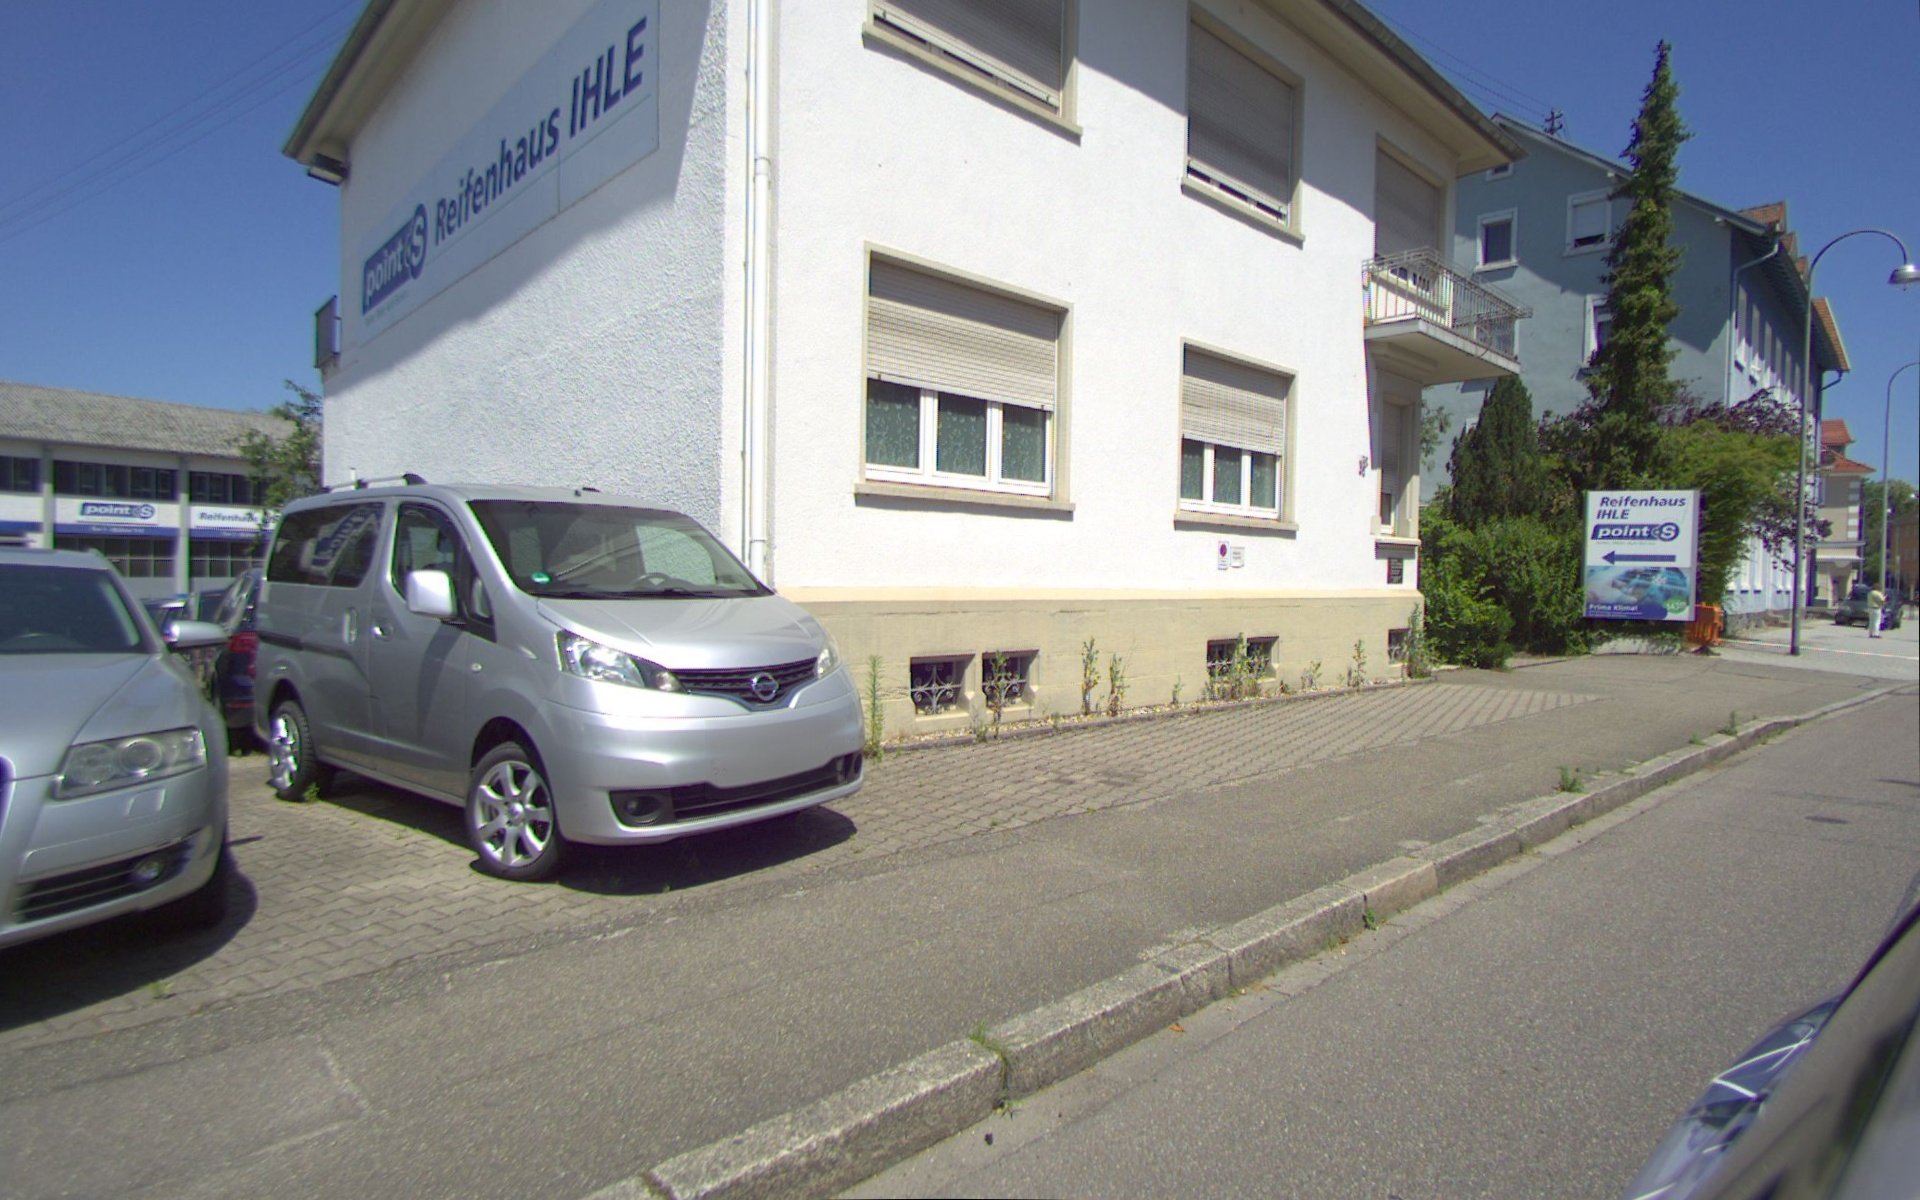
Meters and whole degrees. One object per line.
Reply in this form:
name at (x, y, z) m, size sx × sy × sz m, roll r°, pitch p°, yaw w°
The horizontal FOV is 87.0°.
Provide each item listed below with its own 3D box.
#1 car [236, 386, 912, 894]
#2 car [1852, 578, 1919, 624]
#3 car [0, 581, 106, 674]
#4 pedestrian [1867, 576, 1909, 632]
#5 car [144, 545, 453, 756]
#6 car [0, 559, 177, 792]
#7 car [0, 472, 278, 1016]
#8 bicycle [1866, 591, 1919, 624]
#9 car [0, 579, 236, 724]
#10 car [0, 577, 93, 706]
car at (-2.426, 0.178, 5.741) m, size 4.283 × 1.854 × 1.714 m, roll -1°, pitch -1°, yaw 40°
car at (35.107, 0.003, 38.120) m, size 3.677 × 1.531 × 1.762 m, roll -1°, pitch 5°, yaw -42°
car at (-19.928, 0.525, 21.746) m, size 3.986 × 1.816 × 1.969 m, roll 0°, pitch 1°, yaw 43°
pedestrian at (27.772, 0.124, 30.283) m, size 0.735 × 1.635 × 0.617 m, roll 1°, pitch 3°, yaw -26°
car at (-6.047, 0.326, 9.428) m, size 1.961 × 1.504 × 4.002 m, roll -1°, pitch 1°, yaw -32°
car at (-7.647, 0.476, 7.966) m, size 1.961 × 1.504 × 4.002 m, roll -1°, pitch 1°, yaw -32°
car at (-4.238, 0.413, 4.236) m, size 1.738 × 1.427 × 4.646 m, roll 0°, pitch -1°, yaw -41°
bicycle at (32.421, 0.261, 35.145) m, size 1.844 × 1.051 × 0.635 m, roll 1°, pitch 4°, yaw -23°
car at (-10.426, 0.516, 12.685) m, size 1.961 × 1.504 × 4.002 m, roll -1°, pitch 1°, yaw -32°
car at (-14.942, 0.578, 15.606) m, size 3.986 × 1.816 × 1.969 m, roll 0°, pitch 1°, yaw 43°
